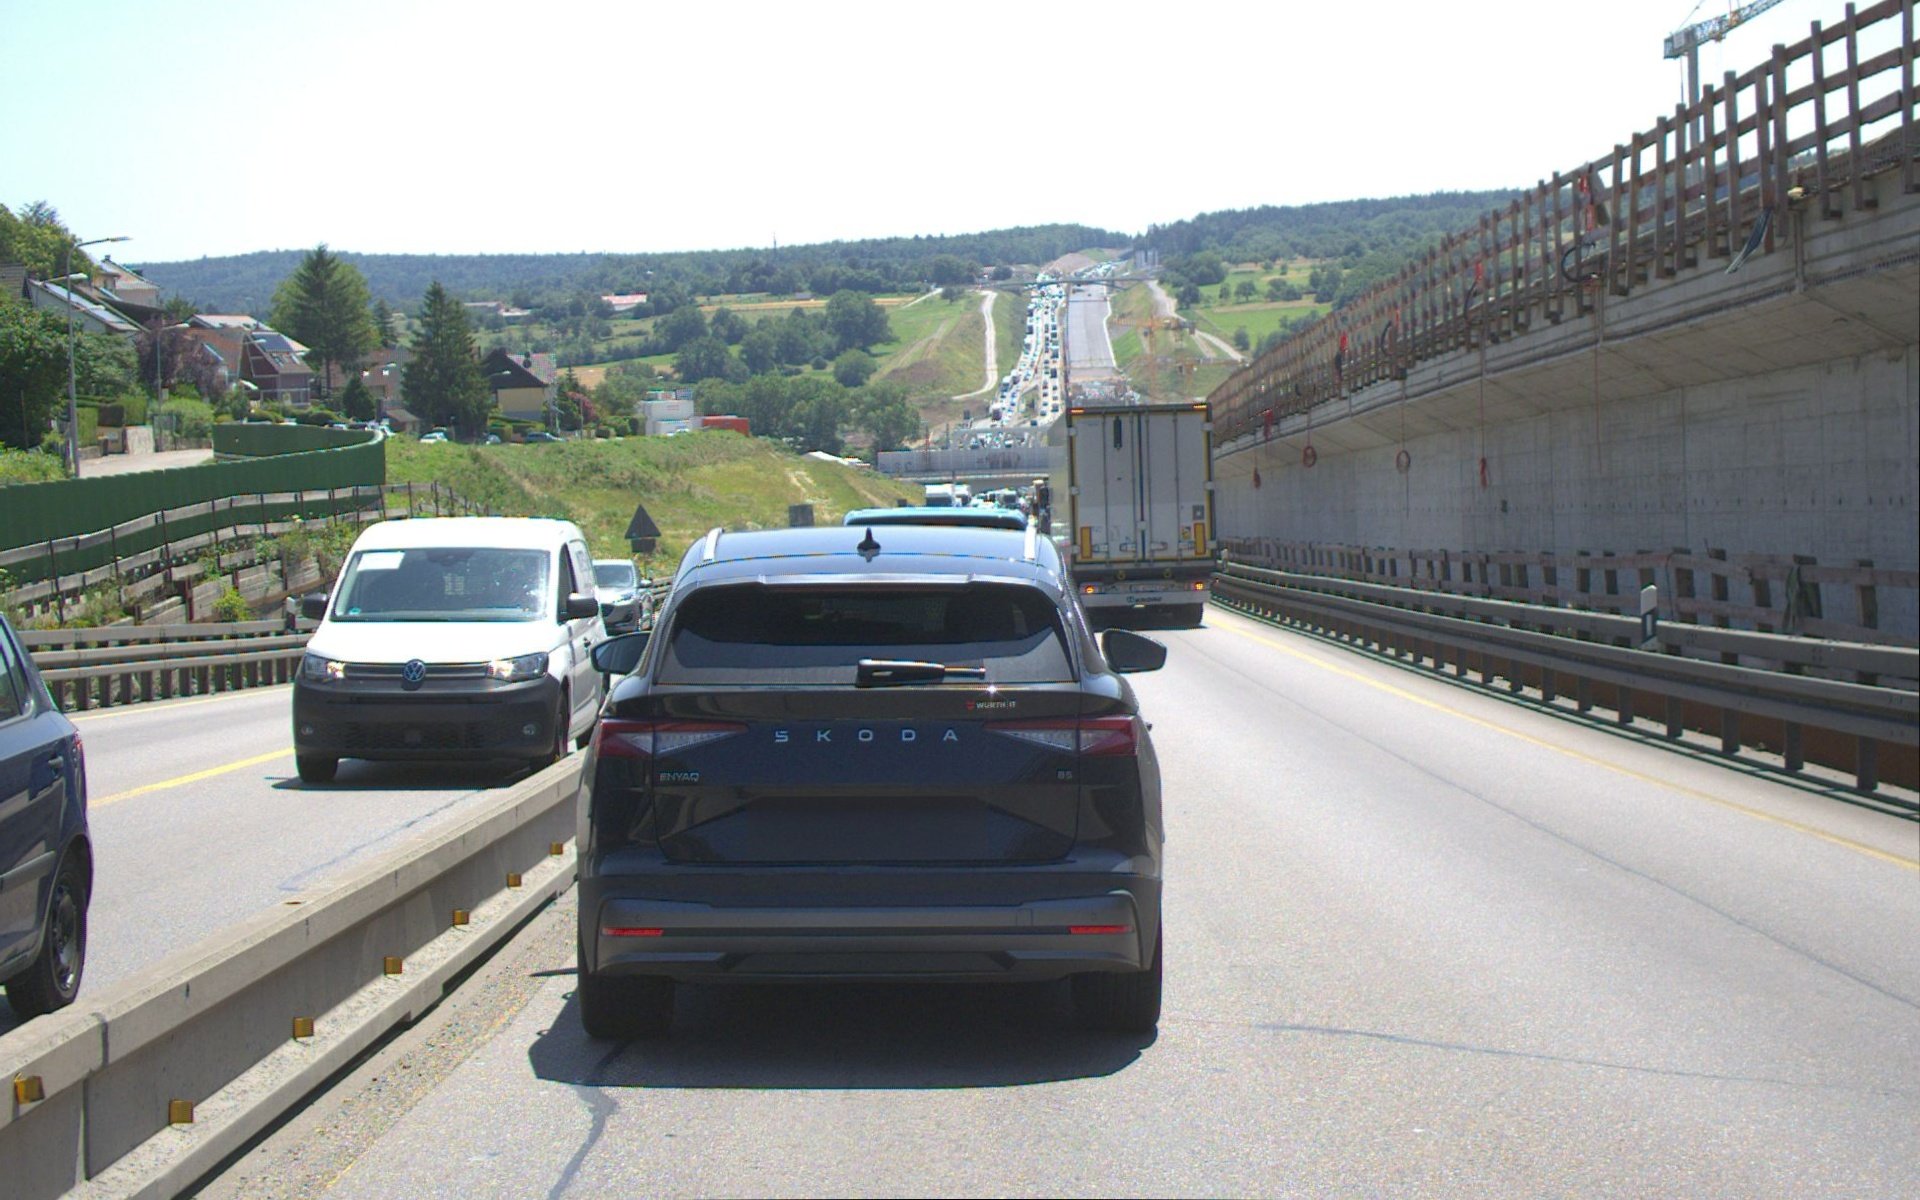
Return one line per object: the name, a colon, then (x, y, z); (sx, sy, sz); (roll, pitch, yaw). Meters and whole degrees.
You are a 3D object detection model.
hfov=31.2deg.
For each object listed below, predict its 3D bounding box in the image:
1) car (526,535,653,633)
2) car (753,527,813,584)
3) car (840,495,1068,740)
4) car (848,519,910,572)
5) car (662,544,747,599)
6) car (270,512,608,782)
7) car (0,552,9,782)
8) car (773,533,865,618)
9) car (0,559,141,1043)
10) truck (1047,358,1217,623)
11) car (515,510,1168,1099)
car: (-7.187, -0.314, 67.125); (1.993, 1.821, 4.509); (1, 0, 0)
car: (-6.240, -1.562, 120.941); (1.825, 1.919, 5.244); (-1, 1, -6)
car: (-0.082, 0.104, 28.513); (1.749, 1.889, 3.755); (0, 1, -1)
car: (-3.013, -2.030, 129.316); (2.157, 1.899, 5.326); (-1, 0, 0)
car: (-6.957, -0.769, 93.801); (1.993, 1.437, 4.364); (1, 0, 0)
car: (-3.577, 0.270, 24.306); (1.809, 1.735, 4.257); (0, 1, -1)
car: (-6.983, 0.464, 20.291); (1.702, 1.474, 3.974); (0, 1, -1)
car: (-3.507, -0.624, 86.174); (1.993, 2.007, 4.969); (-2, 0, 1)
car: (-3.694, 0.620, 10.242); (1.570, 1.456, 4.214); (0, 1, -1)
truck: (3.200, -1.973, 66.663); (2.846, 4.599, 11.811); (-2, 0, 2)
car: (-0.334, 0.552, 11.640); (1.782, 1.592, 3.755); (-3, 1, 0)
